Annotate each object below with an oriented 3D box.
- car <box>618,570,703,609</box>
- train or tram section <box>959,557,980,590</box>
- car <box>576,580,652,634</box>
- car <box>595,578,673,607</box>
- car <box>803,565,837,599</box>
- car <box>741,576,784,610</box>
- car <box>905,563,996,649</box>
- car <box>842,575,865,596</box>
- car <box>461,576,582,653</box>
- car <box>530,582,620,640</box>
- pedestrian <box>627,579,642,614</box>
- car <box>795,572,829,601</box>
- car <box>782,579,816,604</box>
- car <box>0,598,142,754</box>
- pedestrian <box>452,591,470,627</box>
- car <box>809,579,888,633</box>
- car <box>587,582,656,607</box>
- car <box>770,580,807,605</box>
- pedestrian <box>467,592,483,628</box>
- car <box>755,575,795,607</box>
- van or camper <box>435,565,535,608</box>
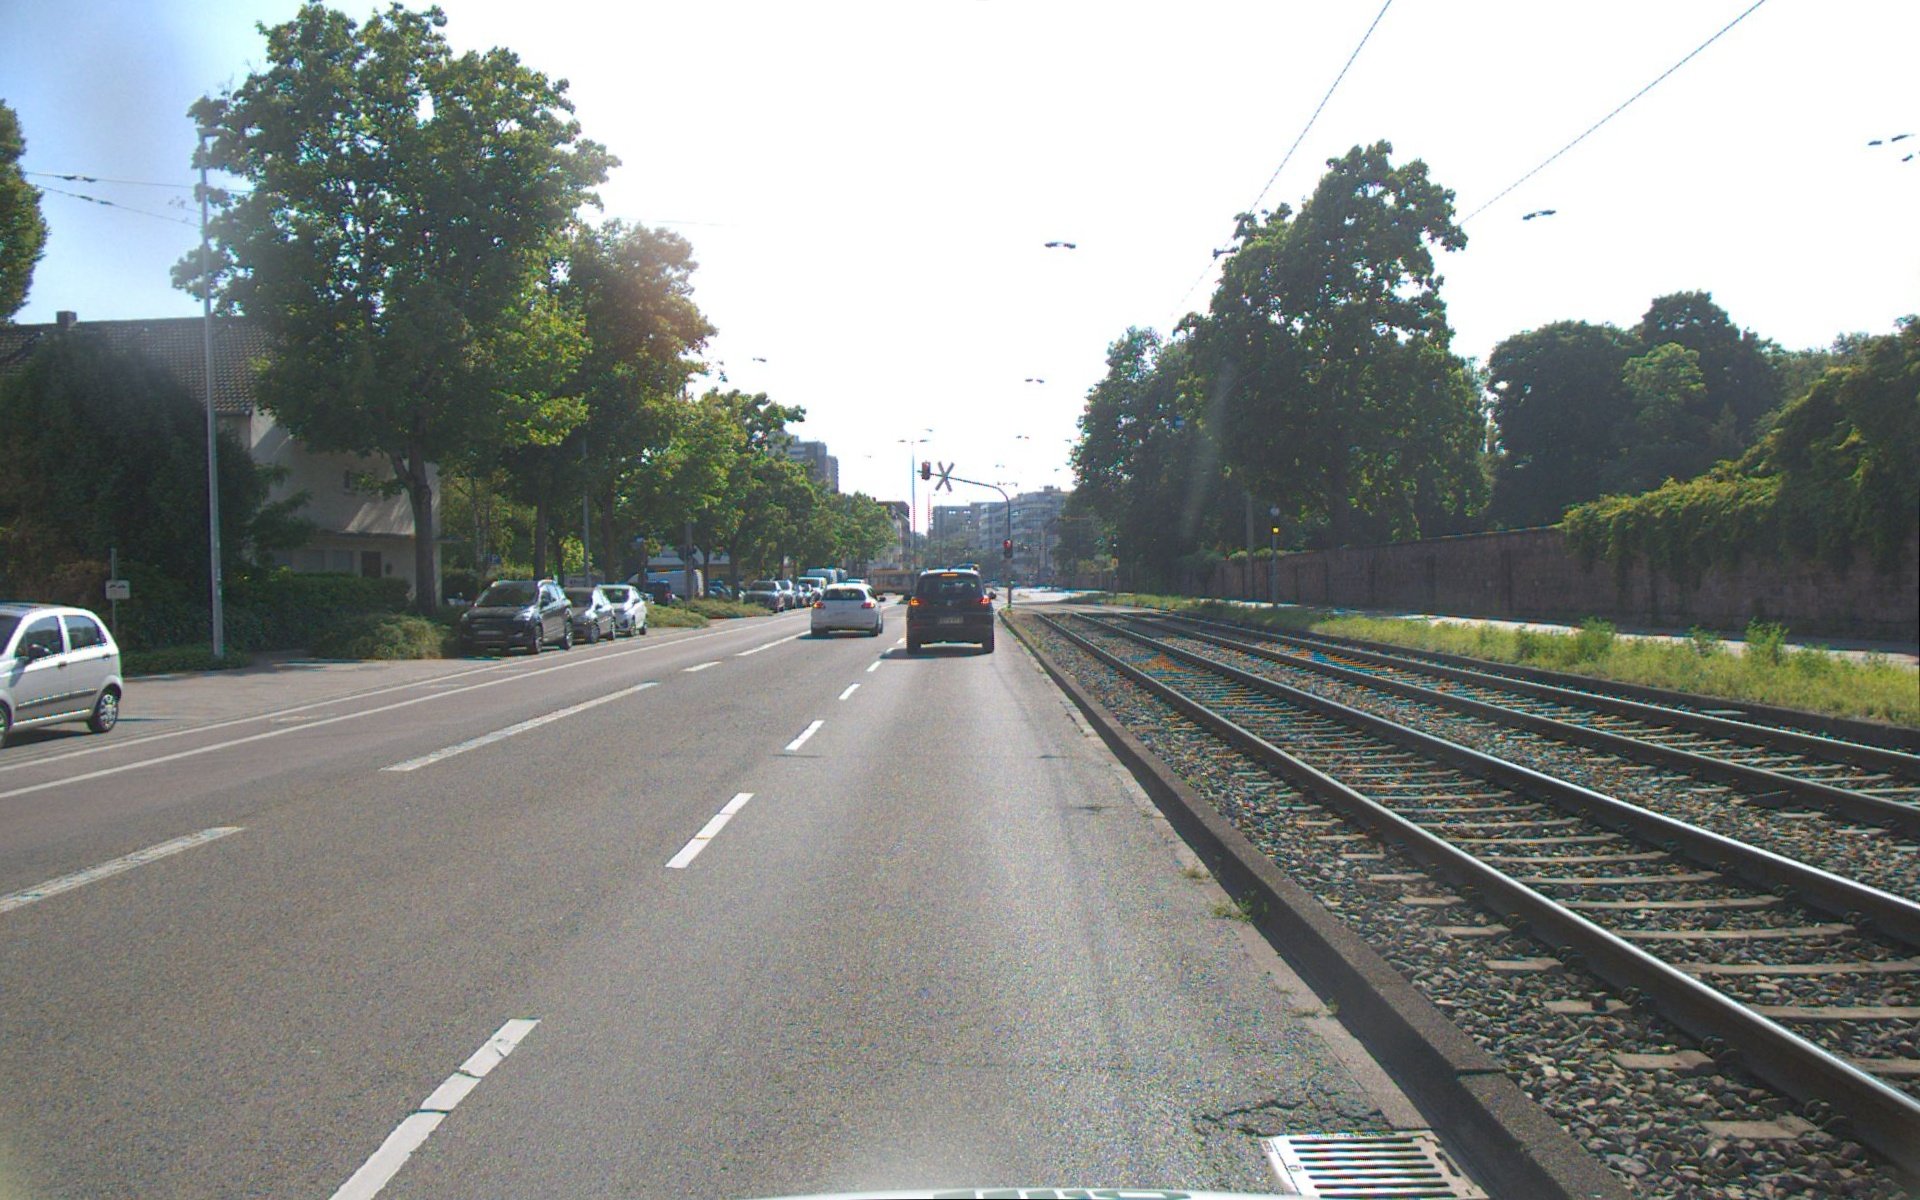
[{"bbox_3d":[-20.212,-0.742,111.865,5.265,2.466,2.088,-2,1,0],"label":"car"},{"bbox_3d":[1.113,-2.958,185.627,2.279,3.632,8.901,-1,1,1],"label":"train or tram section"},{"bbox_3d":[-10.724,0.180,51.465,1.568,1.577,3.894,1,1,-1],"label":"car"},{"bbox_3d":[-20.440,-0.488,103.851,4.524,1.680,2.049,-2,1,-2],"label":"car"},{"bbox_3d":[-10.033,-1.309,118.642,1.825,2.388,4.986,-1,1,2],"label":"car"},{"bbox_3d":[-10.597,-0.399,88.940,1.696,1.686,4.001,-1,1,2],"label":"car"},{"bbox_3d":[-0.155,0.103,34.440,1.774,1.673,4.000,0,0,1],"label":"car"},{"bbox_3d":[-9.550,-1.318,148.504,1.696,1.724,4.002,-1,1,2],"label":"car"},{"bbox_3d":[-10.566,0.293,40.150,1.677,1.723,4.423,-1,1,1],"label":"car"},{"bbox_3d":[-10.629,0.280,45.855,1.643,1.494,3.967,-1,1,-2],"label":"car"},{"bbox_3d":[-15.180,-0.167,77.207,0.513,1.656,0.610,-1,1,0],"label":"pedestrian"},{"bbox_3d":[-10.020,-0.940,111.969,1.696,1.892,4.491,-1,1,2],"label":"car"},{"bbox_3d":[-10.370,-0.582,106.654,1.696,1.475,3.736,-1,1,2],"label":"car"},{"bbox_3d":[-10.866,0.799,18.558,1.569,1.520,3.509,3,1,0],"label":"car"},{"bbox_3d":[-17.543,0.312,58.118,0.435,1.238,0.391,-1,1,8],"label":"pedestrian"},{"bbox_3d":[-2.985,0.130,44.998,1.826,1.371,4.001,-1,1,1],"label":"car"},{"bbox_3d":[-20.739,-0.324,101.465,3.907,1.422,1.737,-2,1,-3],"label":"car"},{"bbox_3d":[-10.451,-0.477,100.770,1.696,1.413,3.736,-1,1,2],"label":"car"},{"bbox_3d":[-16.158,0.316,55.099,0.339,1.182,0.447,-1,1,8],"label":"pedestrian"},{"bbox_3d":[-10.546,-0.528,94.460,1.696,1.724,4.002,-1,1,2],"label":"car"},{"bbox_3d":[-33.440,-0.966,116.641,6.330,2.918,2.308,-1,1,1],"label":"van or camper"}]
